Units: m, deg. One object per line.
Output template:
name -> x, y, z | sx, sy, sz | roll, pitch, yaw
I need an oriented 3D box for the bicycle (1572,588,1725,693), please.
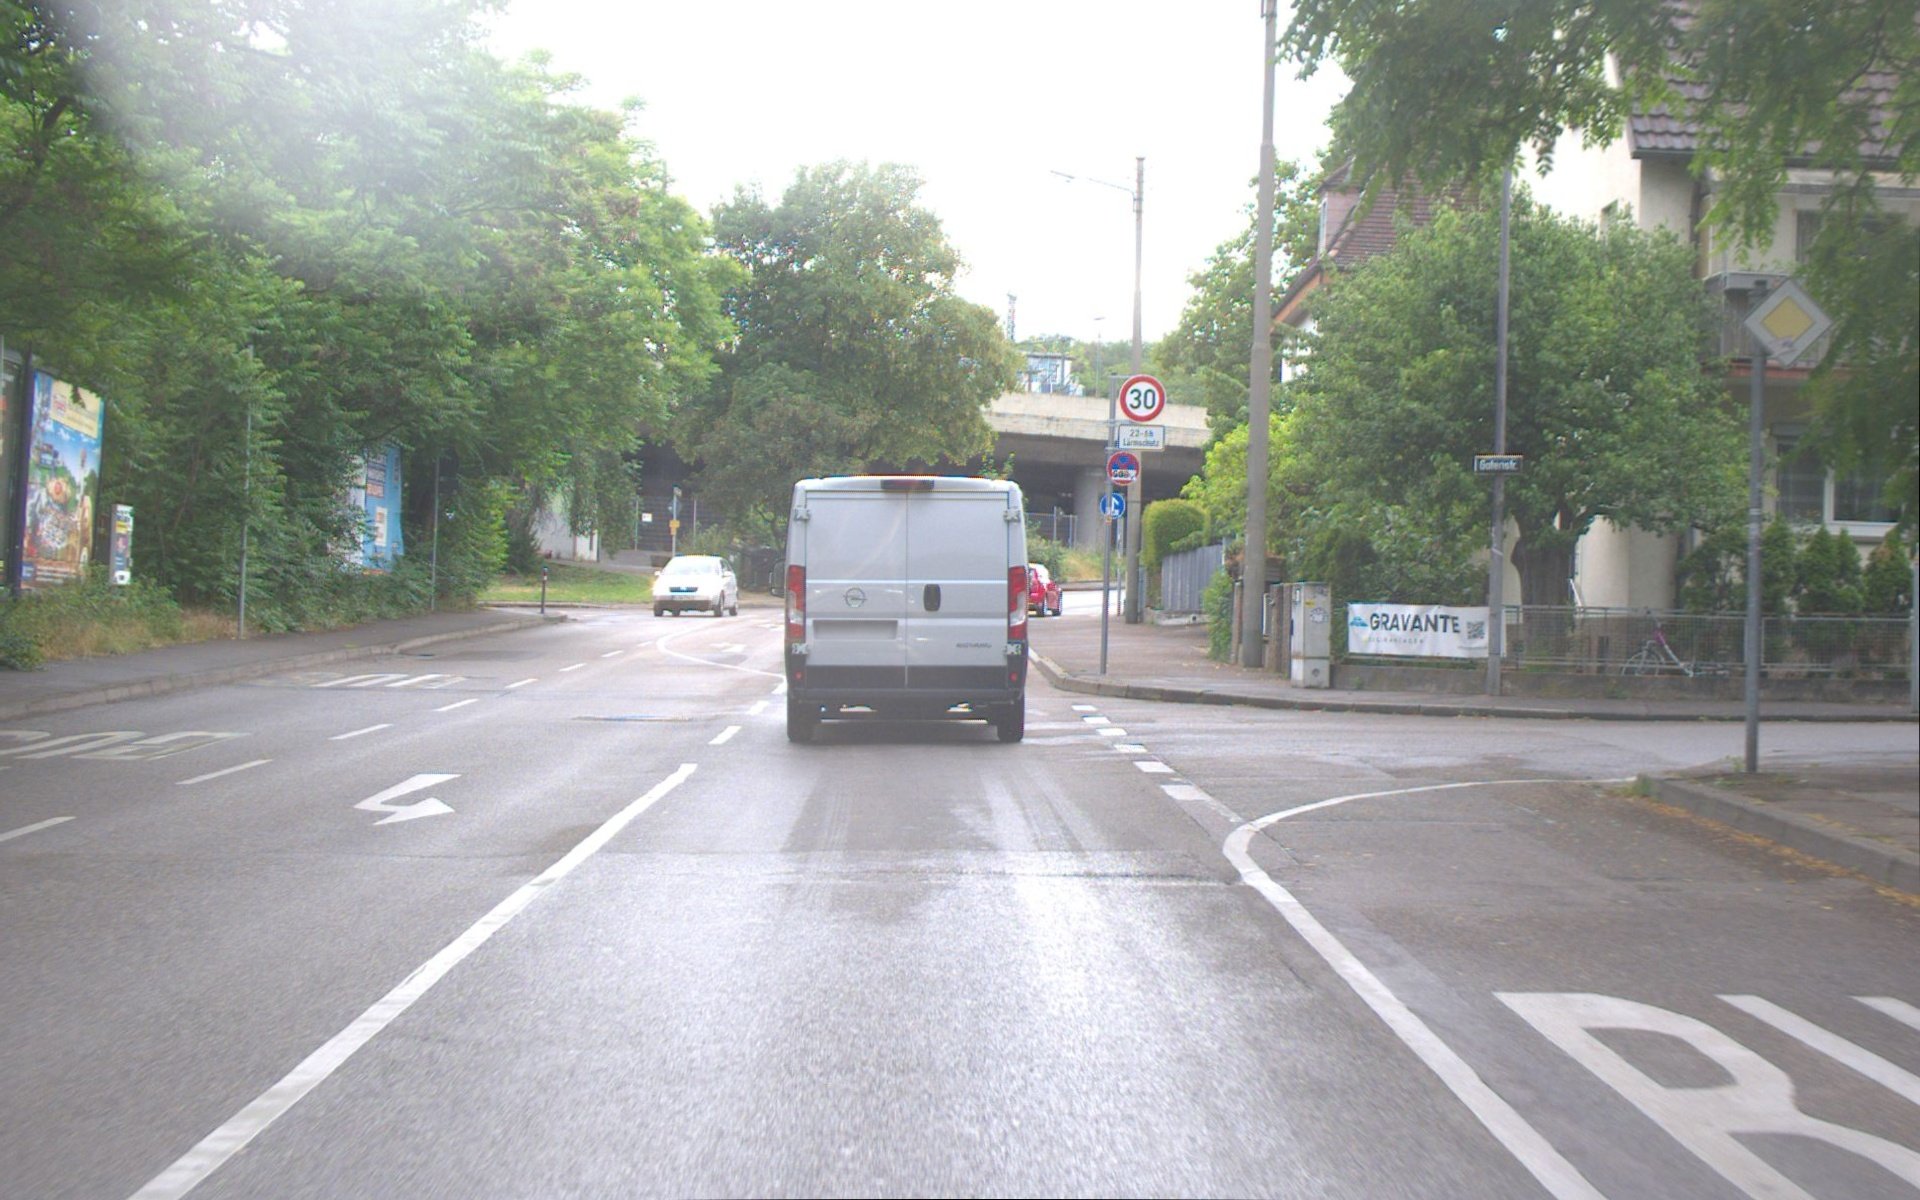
bicycle -> 7.471, 0.441, 37.351 | 1.571, 1.111, 0.457 | 1, 1, 4

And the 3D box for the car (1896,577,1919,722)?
car -> 11.364, 0.496, 33.503 | 3.986, 1.418, 1.704 | 0, -1, -3

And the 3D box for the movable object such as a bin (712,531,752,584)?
movable object such as a bin -> -7.244, -1.362, 109.254 | 0.940, 1.558, 1.130 | 8, 1, 4

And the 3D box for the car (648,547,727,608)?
car -> -6.529, -0.567, 82.715 | 1.654, 1.412, 3.936 | 0, 1, -1

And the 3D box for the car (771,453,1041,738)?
car -> -0.498, -0.037, 30.715 | 2.146, 2.276, 5.063 | 2, 0, -1

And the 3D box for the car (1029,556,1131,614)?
car -> 3.354, -0.398, 95.246 | 1.767, 1.505, 3.751 | 3, 1, 19
